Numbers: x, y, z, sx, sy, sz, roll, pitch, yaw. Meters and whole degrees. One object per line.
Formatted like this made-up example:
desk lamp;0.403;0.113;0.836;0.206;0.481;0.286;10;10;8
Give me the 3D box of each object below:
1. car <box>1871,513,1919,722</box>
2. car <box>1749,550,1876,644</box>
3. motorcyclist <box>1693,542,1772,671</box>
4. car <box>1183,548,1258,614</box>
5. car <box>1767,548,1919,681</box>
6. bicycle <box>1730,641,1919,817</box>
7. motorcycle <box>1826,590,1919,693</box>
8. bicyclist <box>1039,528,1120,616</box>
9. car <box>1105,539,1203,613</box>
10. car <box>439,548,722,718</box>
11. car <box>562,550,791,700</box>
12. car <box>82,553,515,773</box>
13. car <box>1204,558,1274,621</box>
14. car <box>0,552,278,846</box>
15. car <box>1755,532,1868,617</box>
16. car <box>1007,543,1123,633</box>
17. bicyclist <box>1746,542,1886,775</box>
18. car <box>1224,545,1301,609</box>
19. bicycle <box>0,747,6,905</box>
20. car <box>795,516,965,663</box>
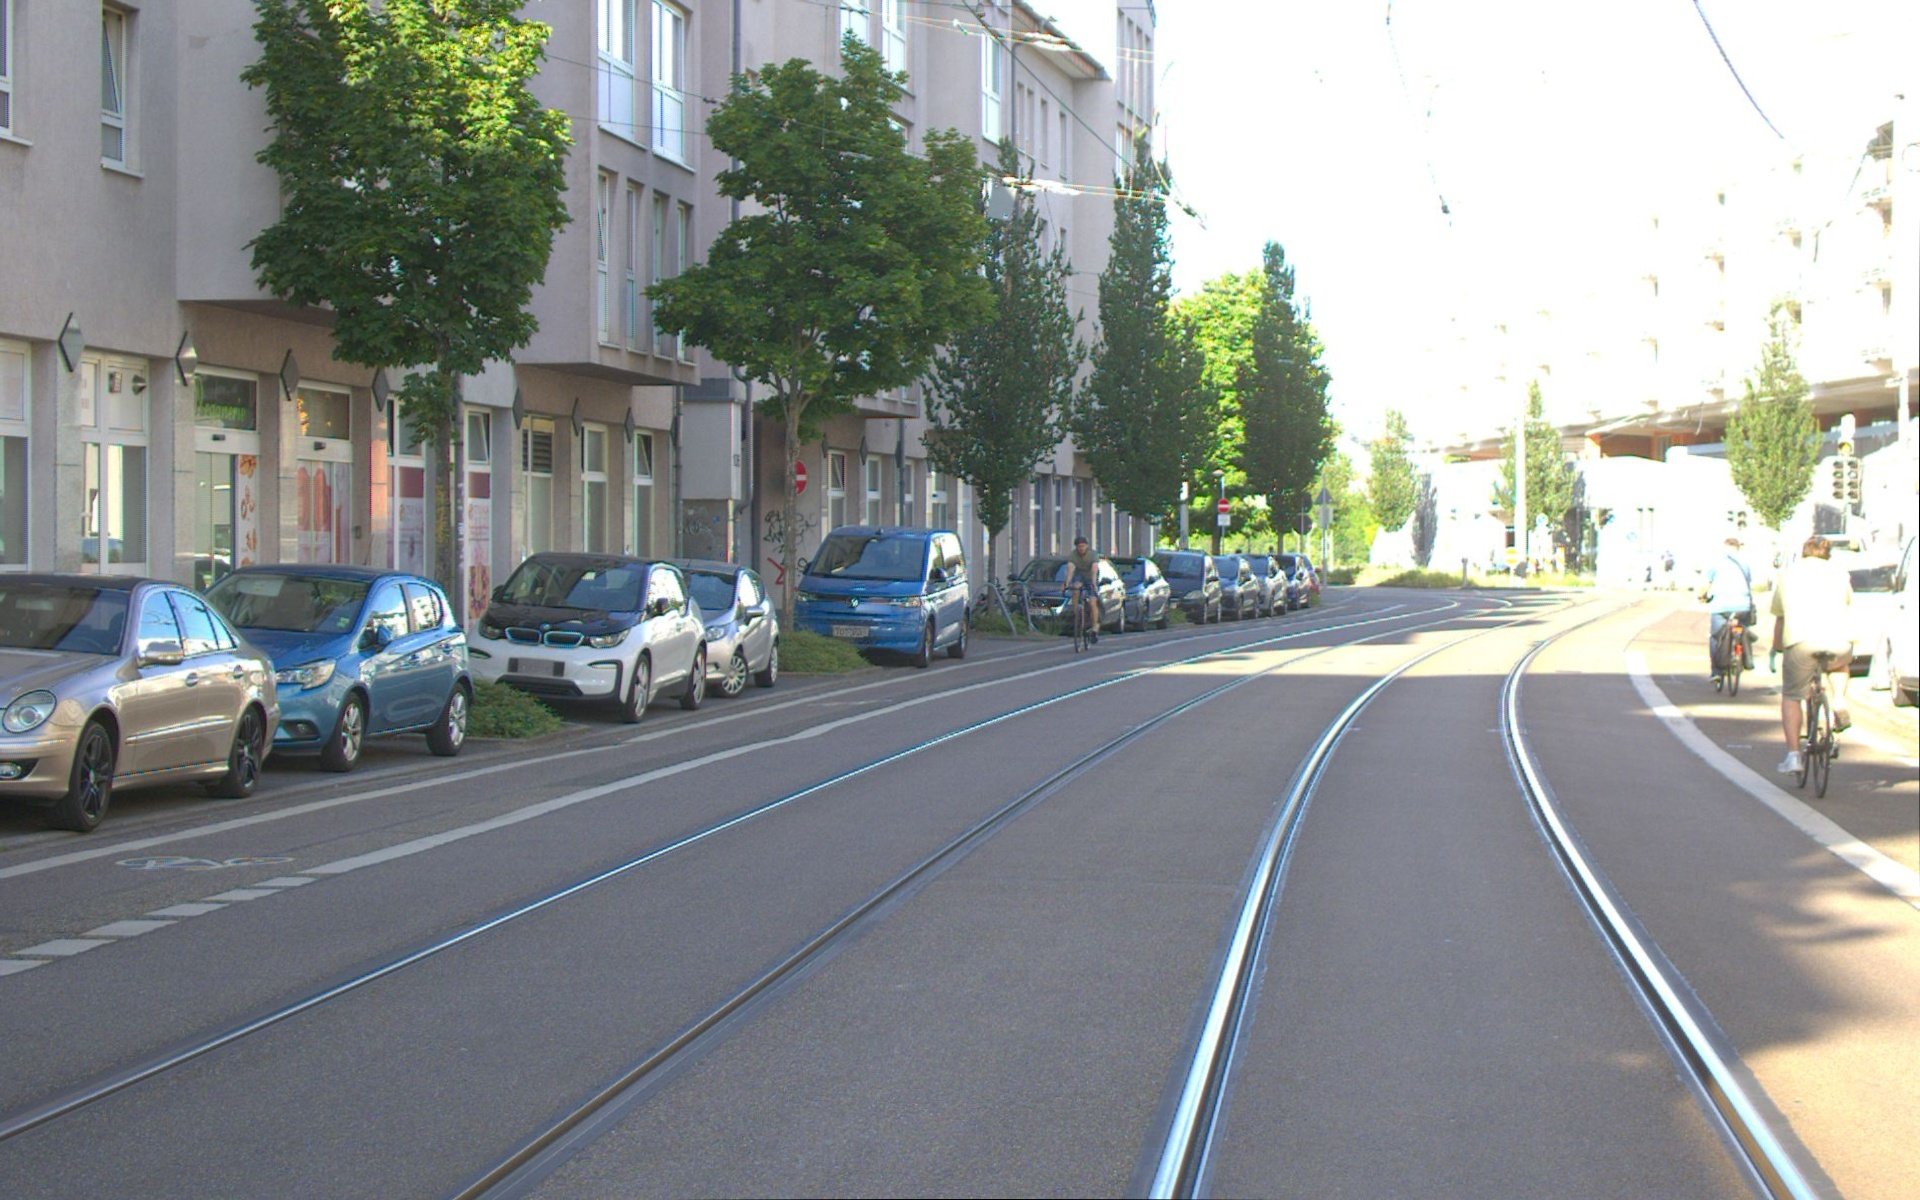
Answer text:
car;10.110;0.120;33.661;1.787;1.964;4.153;-1;1;8
car;15.493;-0.086;62.640;1.844;1.640;3.964;0;1;8
motorcyclist;8.473;0.062;37.725;0.728;1.401;1.020;0;1;6
car;6.231;-0.463;81.905;1.592;1.535;3.190;0;1;8
car;11.682;0.146;44.806;1.844;1.640;4.547;0;1;8
bicycle;5.458;0.782;21.840;0.739;0.921;2.836;3;1;6
motorcycle;10.673;0.466;39.051;0.490;1.140;1.771;0;1;-32
bicyclist;1.831;-0.433;52.413;1.183;1.326;1.095;0;1;5
car;4.440;-0.565;78.149;1.844;1.640;4.547;0;1;8
car;-3.732;0.276;34.523;1.830;1.588;3.999;0;1;9
car;-3.156;0.240;38.982;1.830;1.588;3.999;0;1;7
car;-4.964;0.427;26.380;1.830;1.484;3.998;-2;1;12
car;7.041;-0.272;86.532;1.592;1.535;3.190;0;1;8
car;-5.595;0.503;20.549;1.744;1.438;3.999;4;2;7
car;17.958;-0.558;72.703;1.844;1.750;4.547;0;1;8
car;1.975;-0.254;63.661;1.665;1.612;3.999;0;1;9
bicyclist;5.491;0.360;22.102;0.728;1.457;1.020;0;1;6
car;8.063;-0.630;91.443;1.844;1.640;3.696;0;1;8
bicycle;-4.705;0.725;13.226;0.840;1.145;2.231;-1;1;19
car;-1.076;-0.184;48.427;1.665;1.980;4.341;0;1;9
